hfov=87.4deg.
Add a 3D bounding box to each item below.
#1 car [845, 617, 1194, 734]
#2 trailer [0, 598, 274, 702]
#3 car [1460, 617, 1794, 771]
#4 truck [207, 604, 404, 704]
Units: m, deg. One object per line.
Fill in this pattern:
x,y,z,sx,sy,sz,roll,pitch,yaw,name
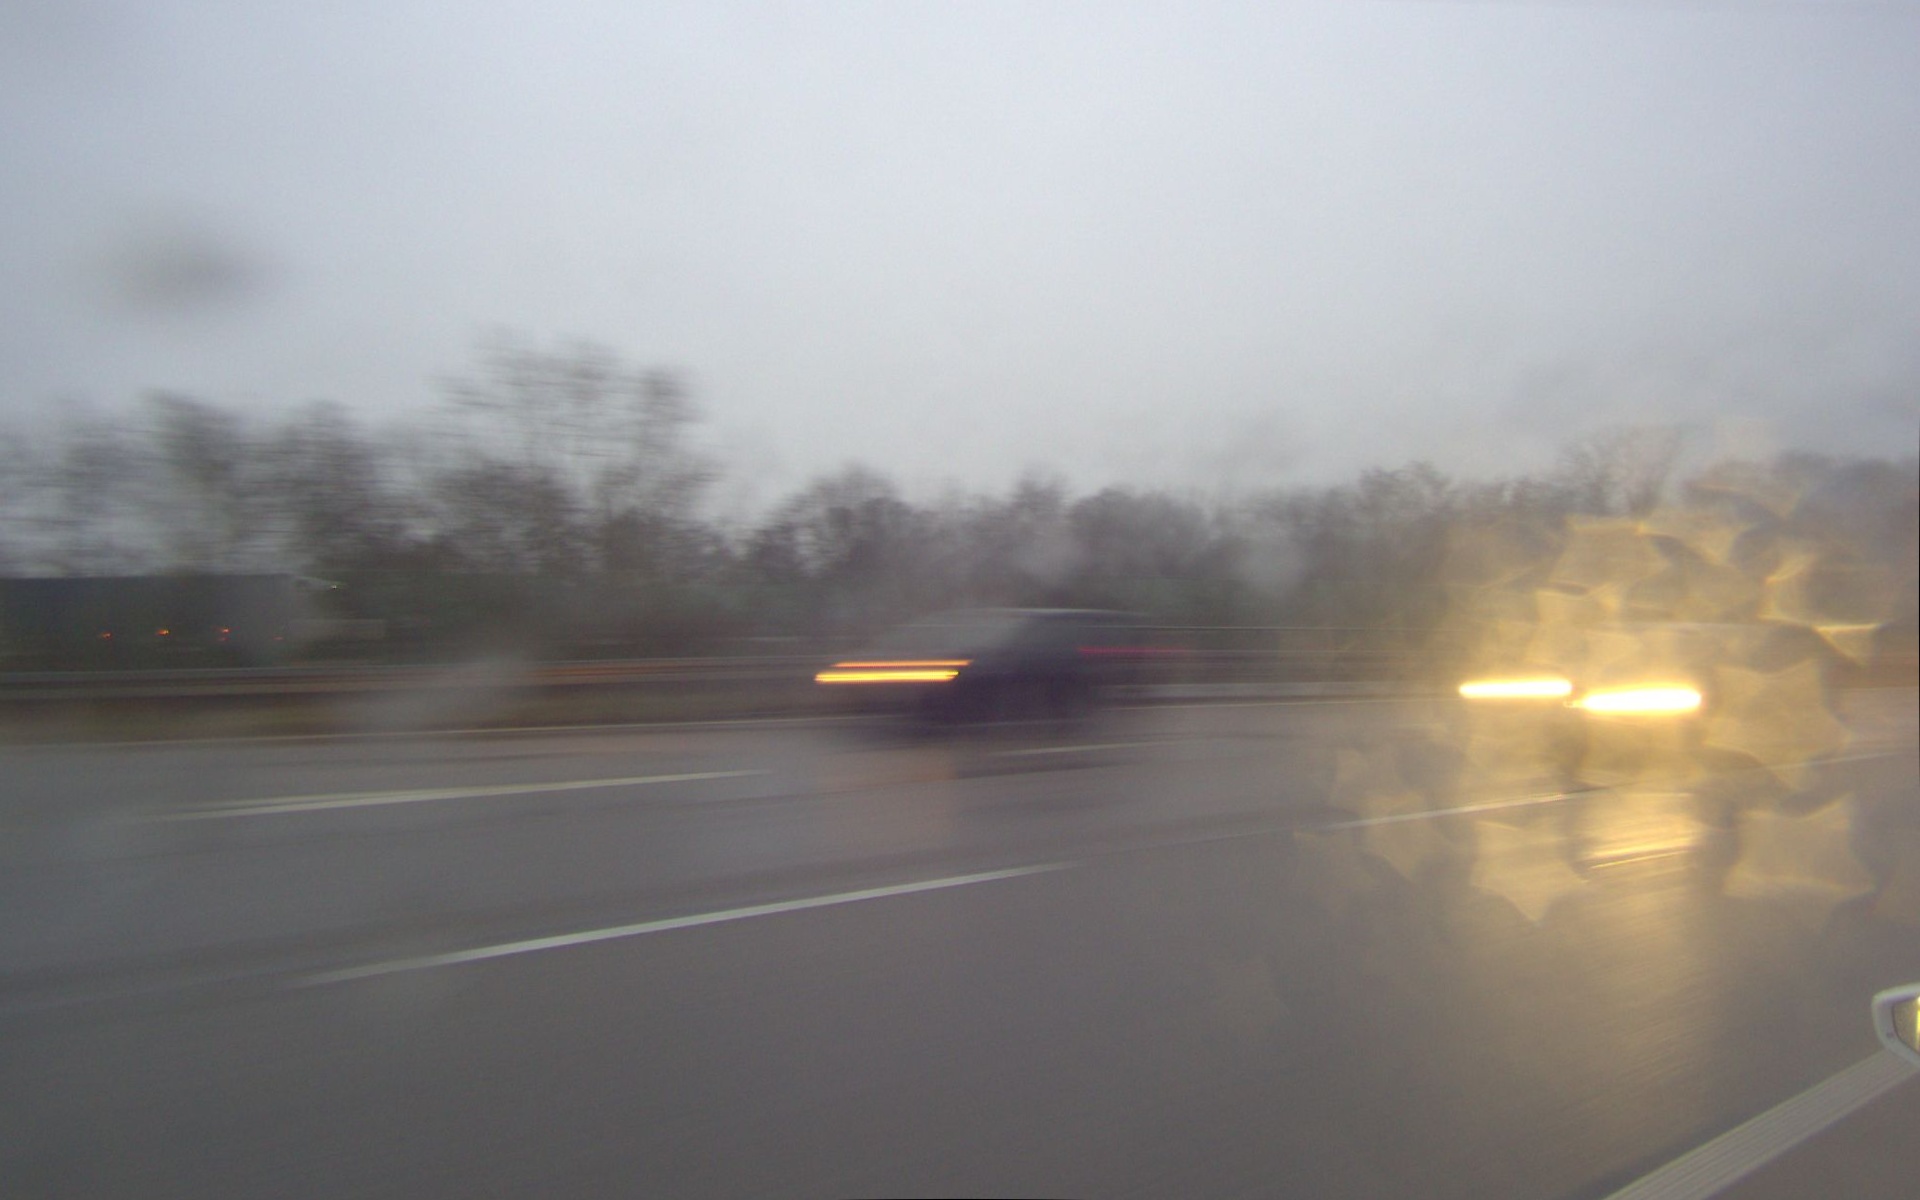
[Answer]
0.680,0.861,12.162,3.934,1.260,1.595,1,-2,-16,car
-45.117,2.669,54.261,12.987,5.171,3.308,2,-1,-8,trailer
7.658,0.949,11.451,3.956,1.436,1.685,1,1,-32,car
-36.069,2.939,55.673,8.364,5.198,3.281,2,-1,-9,truck
